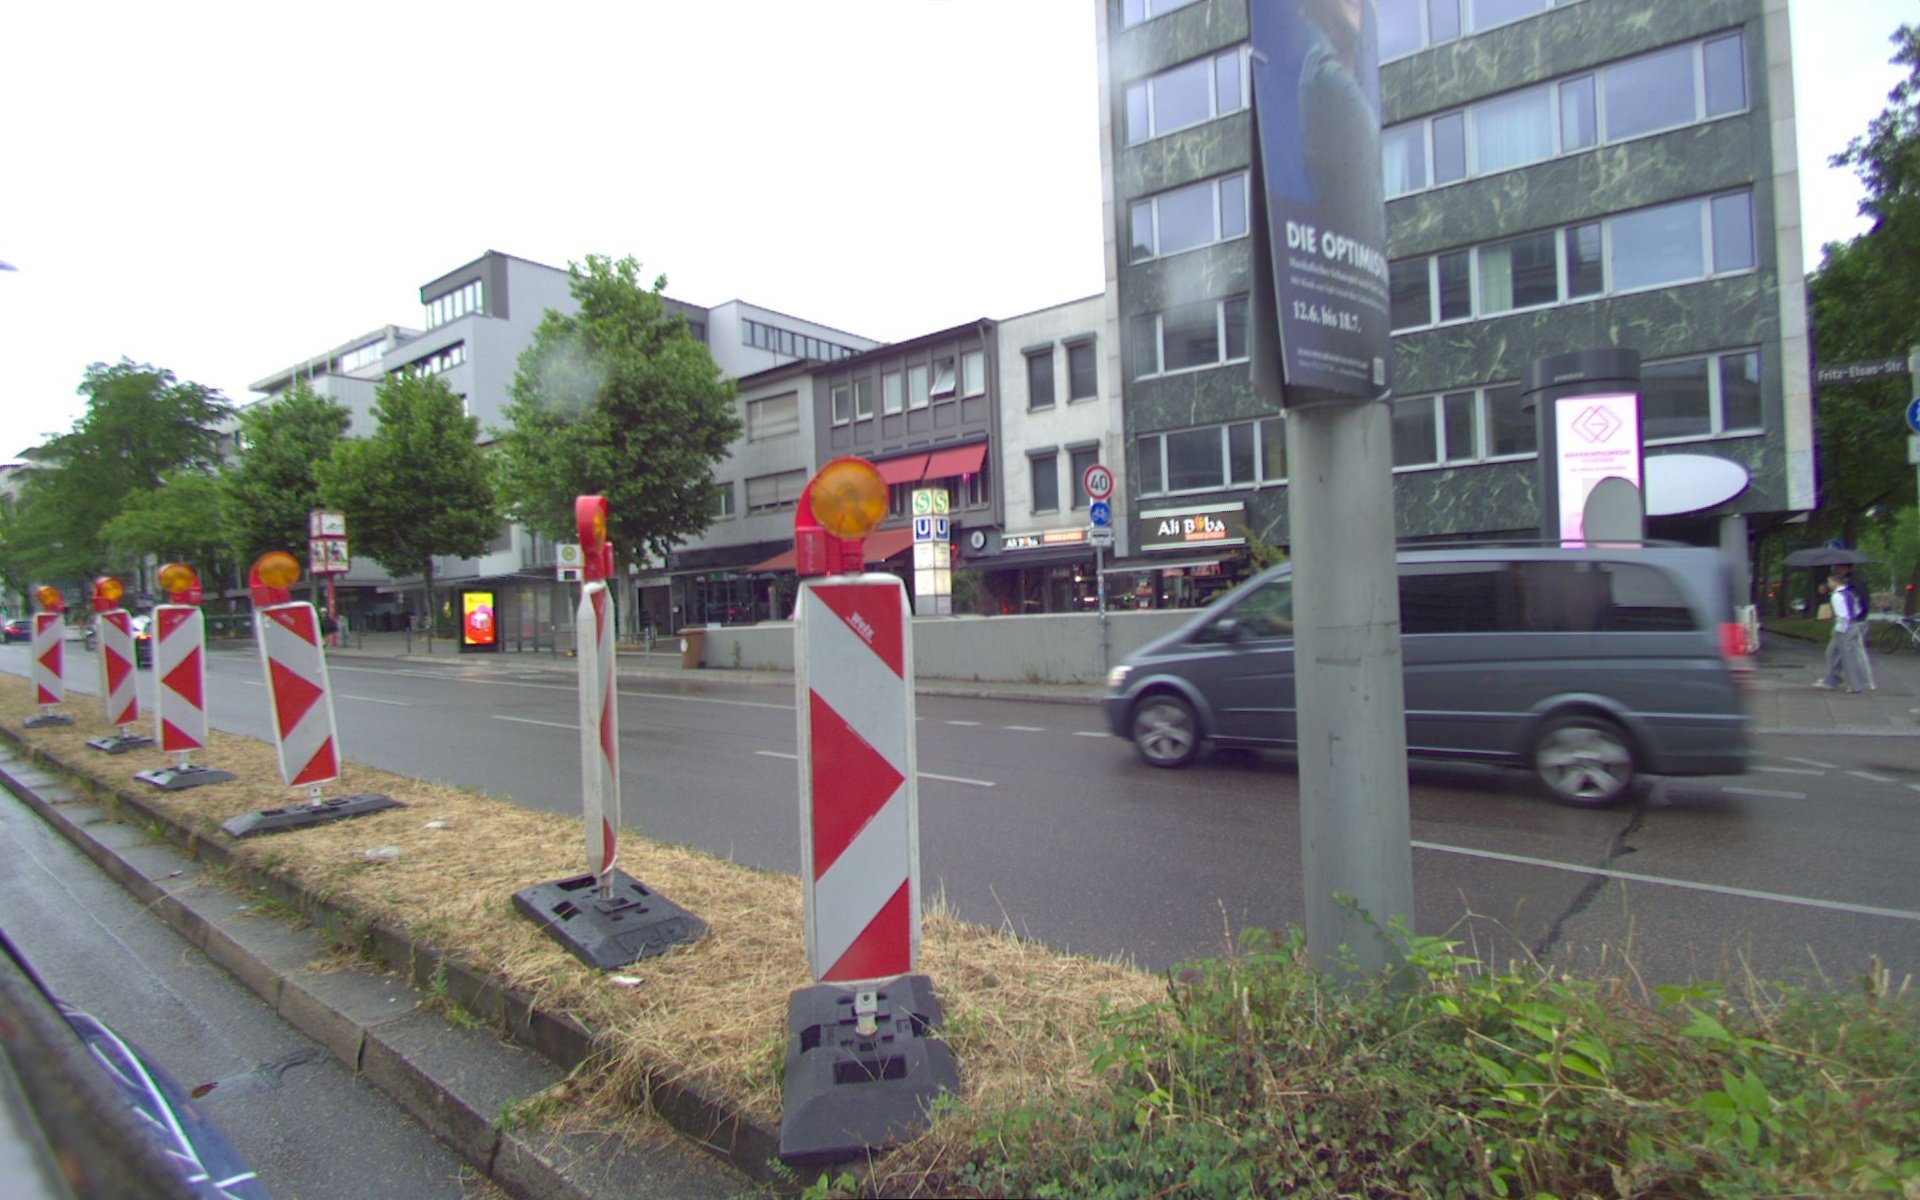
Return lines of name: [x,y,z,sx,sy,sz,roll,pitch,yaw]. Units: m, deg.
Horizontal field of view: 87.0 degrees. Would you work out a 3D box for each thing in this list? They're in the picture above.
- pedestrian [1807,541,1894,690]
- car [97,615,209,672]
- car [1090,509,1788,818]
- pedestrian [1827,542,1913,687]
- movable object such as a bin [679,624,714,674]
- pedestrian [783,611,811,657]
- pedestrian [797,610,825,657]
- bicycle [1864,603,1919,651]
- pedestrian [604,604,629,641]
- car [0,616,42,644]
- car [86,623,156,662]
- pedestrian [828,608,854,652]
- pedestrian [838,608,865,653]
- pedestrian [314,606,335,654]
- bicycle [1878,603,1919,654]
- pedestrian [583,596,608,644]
pedestrian: [12.559,0.215,14.283,0.588,2.029,0.730,0,-1,-29]
car: [-23.635,1.253,29.586,4.286,1.522,1.671,-2,-1,39]
car: [3.764,0.381,8.629,4.955,1.942,1.976,0,0,36]
pedestrian: [13.119,0.211,14.600,0.588,2.029,0.730,0,-1,-29]
movable object such as a bin: [-6.112,1.130,23.462,0.660,1.109,0.501,-1,0,39]
pedestrian: [-5.543,1.141,34.411,0.611,1.540,0.660,-2,-1,44]
pedestrian: [-4.910,1.104,33.429,0.611,1.540,0.660,-2,-1,44]
bicycle: [21.252,0.591,22.397,1.780,1.060,0.579,-1,-1,37]
pedestrian: [-14.899,0.974,43.919,0.764,1.577,0.768,-1,0,-41]
car: [-56.059,1.731,60.072,4.415,1.566,1.671,-1,0,39]
car: [-35.869,1.837,43.232,4.212,1.442,1.670,-5,-3,41]
pedestrian: [-4.191,1.045,35.530,0.611,1.540,0.660,-2,-1,44]
pedestrian: [-3.764,1.042,35.027,0.611,1.540,0.660,-2,-1,44]
pedestrian: [-24.493,1.143,38.990,0.567,1.839,0.581,-1,0,-43]
bicycle: [20.757,0.597,21.489,1.780,1.060,0.579,-1,-1,37]
pedestrian: [-15.572,0.844,43.211,0.764,2.029,0.768,-1,0,-41]
